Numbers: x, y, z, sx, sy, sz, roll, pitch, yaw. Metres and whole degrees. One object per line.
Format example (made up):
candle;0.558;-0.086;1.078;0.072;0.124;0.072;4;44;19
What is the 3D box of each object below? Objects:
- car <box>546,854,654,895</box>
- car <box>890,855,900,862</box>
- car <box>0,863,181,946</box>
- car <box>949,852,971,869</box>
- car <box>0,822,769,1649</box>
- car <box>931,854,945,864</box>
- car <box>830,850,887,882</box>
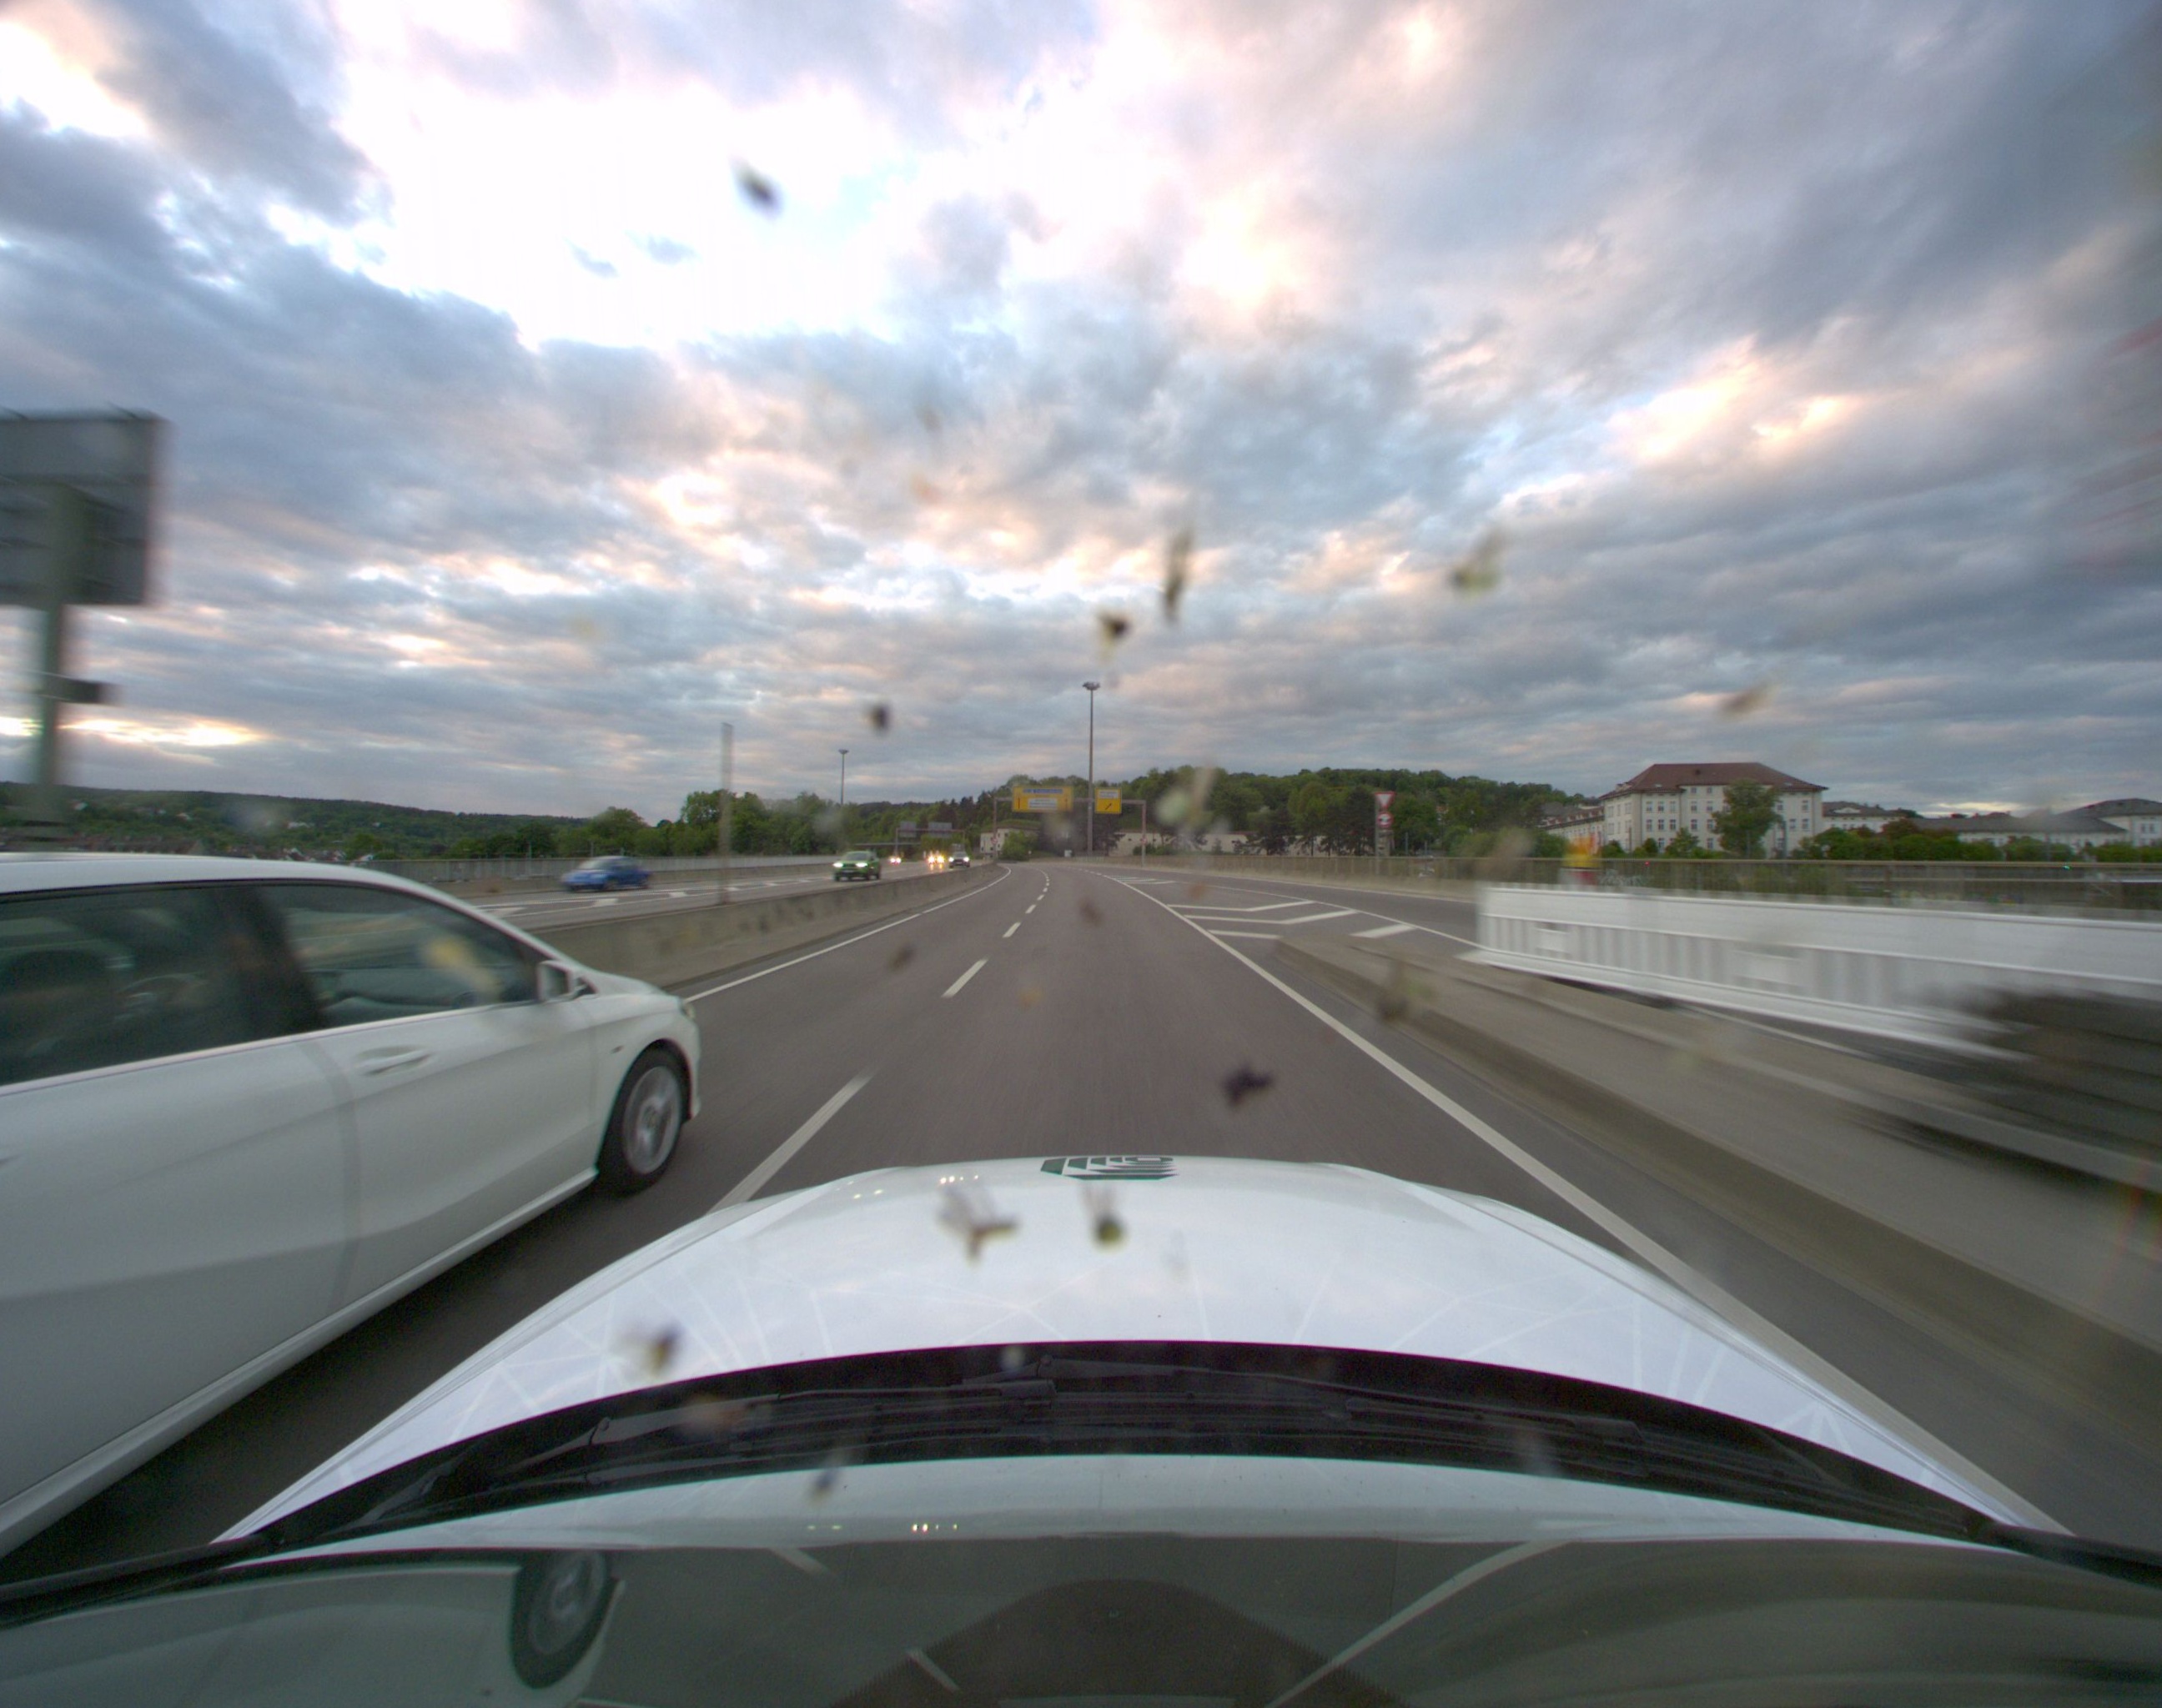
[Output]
car;-20.101;0.810;34.278;1.890;1.596;4.166;0;0;3
car;-44.308;1.059;193.823;1.676;1.733;3.966;0;-1;-25
car;-20.425;0.925;15.673;1.788;1.486;3.845;0;0;4
car;-11.412;0.592;77.134;1.809;1.534;4.536;0;0;-6
car;-2.837;0.736;2.655;1.685;1.537;4.784;-1;-1;1
car;-20.811;0.734;118.056;1.733;1.476;4.204;0;0;-14
car;-11.613;0.633;42.827;1.704;1.494;4.082;-3;-1;2
